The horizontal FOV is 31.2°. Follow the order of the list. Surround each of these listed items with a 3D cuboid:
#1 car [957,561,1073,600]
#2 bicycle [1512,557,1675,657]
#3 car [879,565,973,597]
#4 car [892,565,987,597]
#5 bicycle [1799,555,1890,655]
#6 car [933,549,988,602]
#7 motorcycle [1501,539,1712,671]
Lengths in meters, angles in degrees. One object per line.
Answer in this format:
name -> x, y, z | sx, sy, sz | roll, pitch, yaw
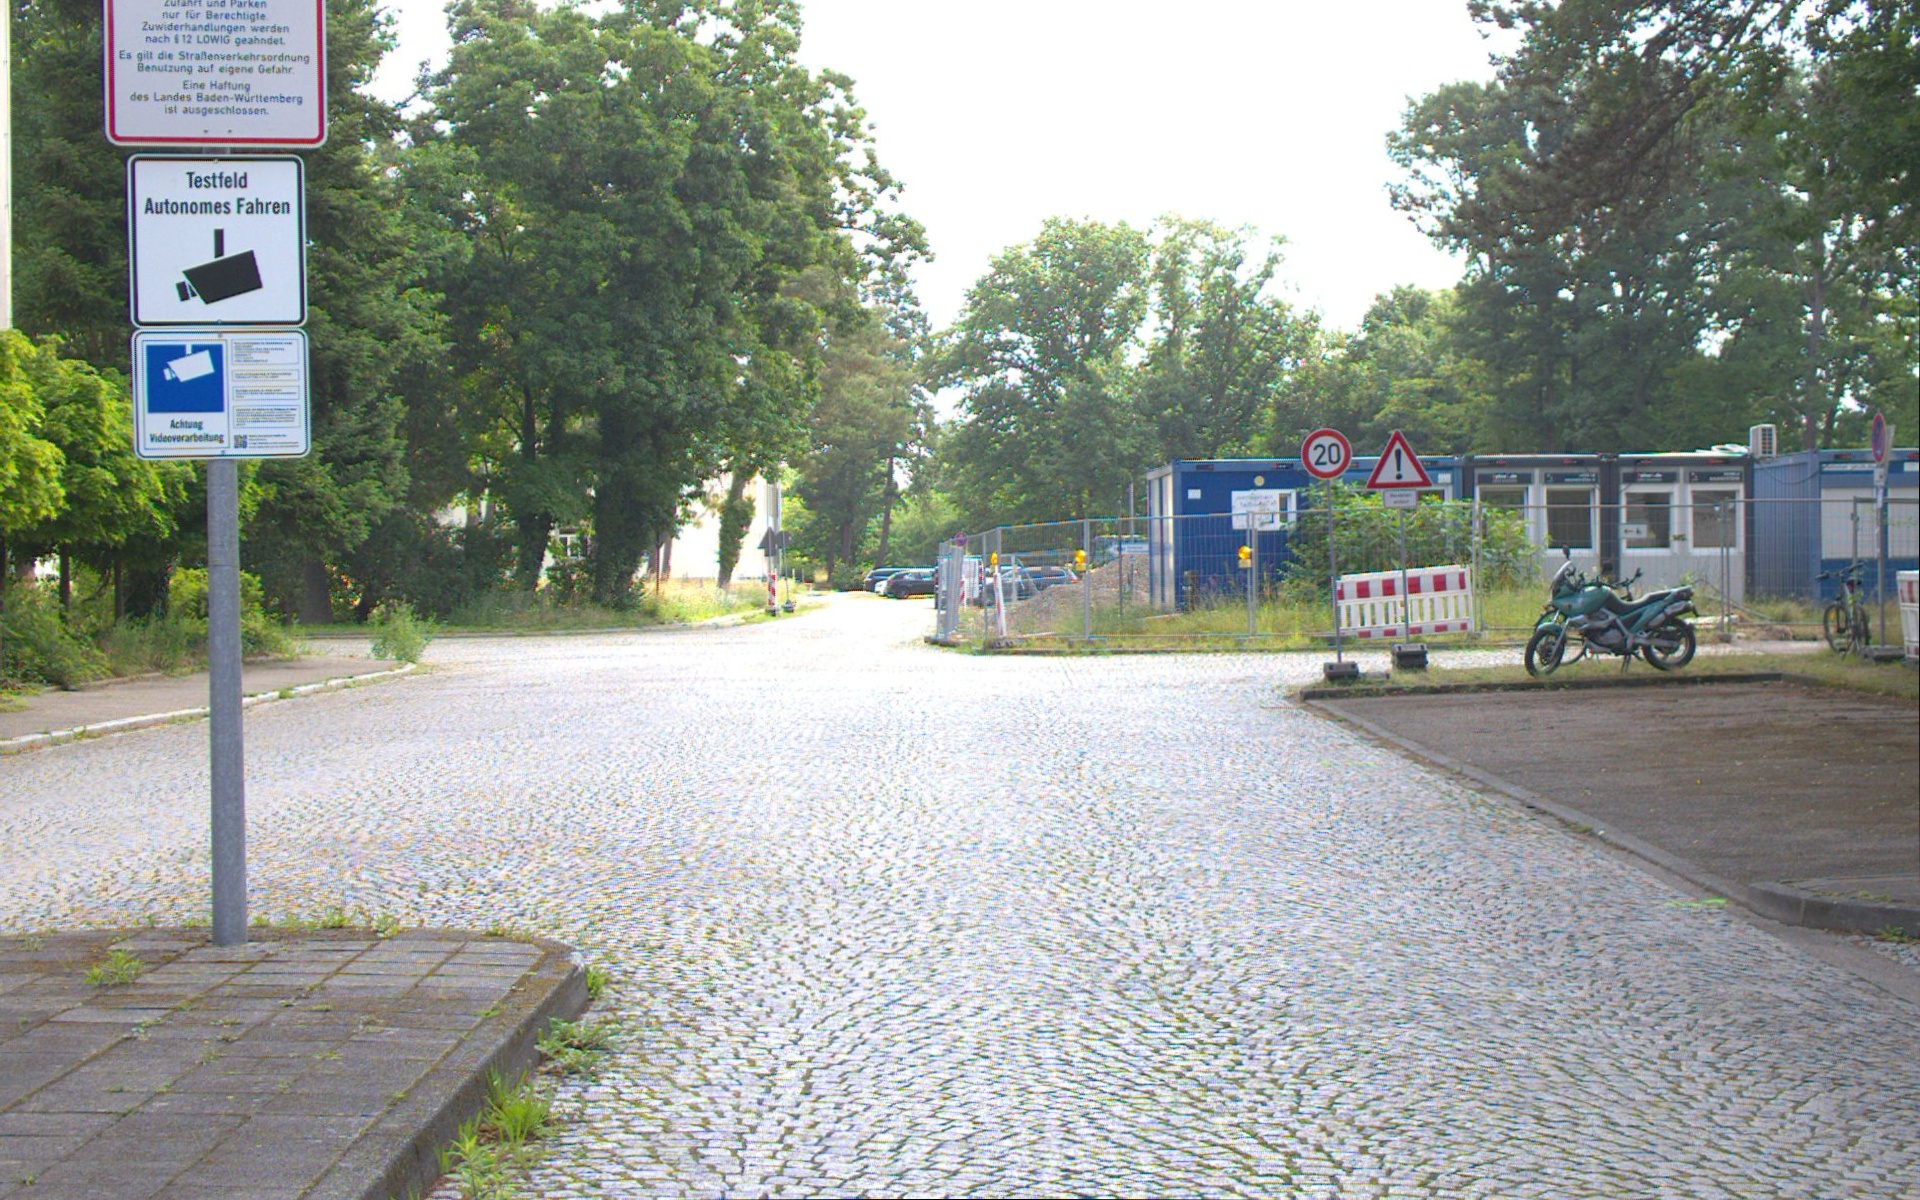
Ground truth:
car -> 2.208, -0.773, 137.143 | 4.404, 1.505, 1.999 | 1, 0, 8
bicycle -> 7.859, 0.087, 42.646 | 1.900, 1.193, 0.655 | -1, 1, 19
car -> -1.805, -1.000, 180.870 | 4.779, 1.635, 2.000 | 0, 0, -5
car -> -1.068, -0.970, 177.974 | 4.779, 1.635, 2.000 | 0, 0, -5
bicycle -> 10.713, 0.048, 41.688 | 0.642, 1.165, 1.905 | -1, 1, 2
car -> 0.017, -0.925, 131.220 | 1.993, 2.007, 4.091 | 0, 0, -2
motorcycle -> 7.541, 0.051, 40.139 | 2.276, 1.480, 0.757 | -1, 1, -5
